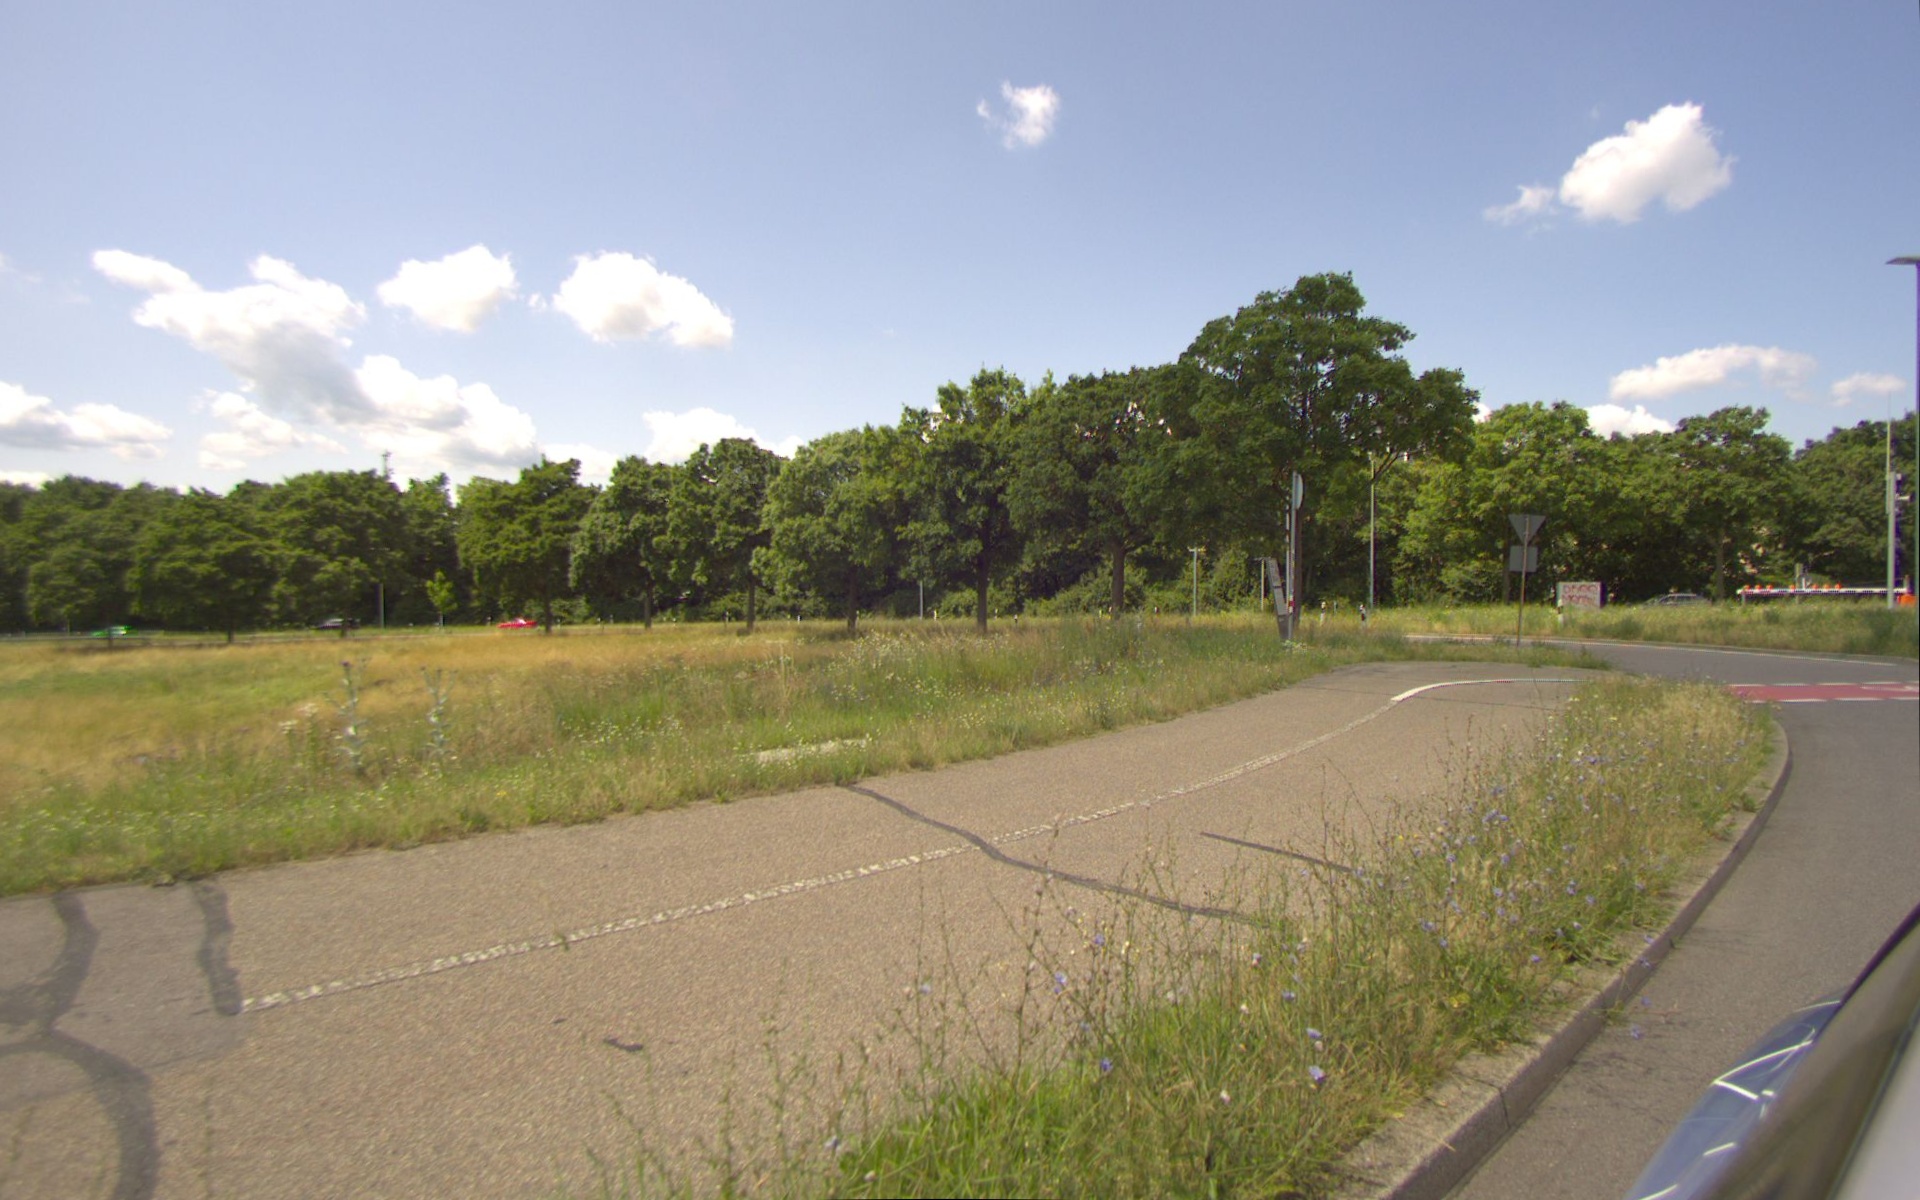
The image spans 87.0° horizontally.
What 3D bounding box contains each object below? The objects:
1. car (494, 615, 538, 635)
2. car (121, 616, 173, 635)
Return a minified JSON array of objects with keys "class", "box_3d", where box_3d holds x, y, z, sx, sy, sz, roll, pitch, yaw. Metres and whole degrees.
[{"class":"car","box_3d":[-46.055,2.579,105.036,3.949,2.039,1.987,-1,-1,20]},{"class":"car","box_3d":[-87.060,2.752,108.386,3.923,1.906,2.000,-1,-1,-1]}]
